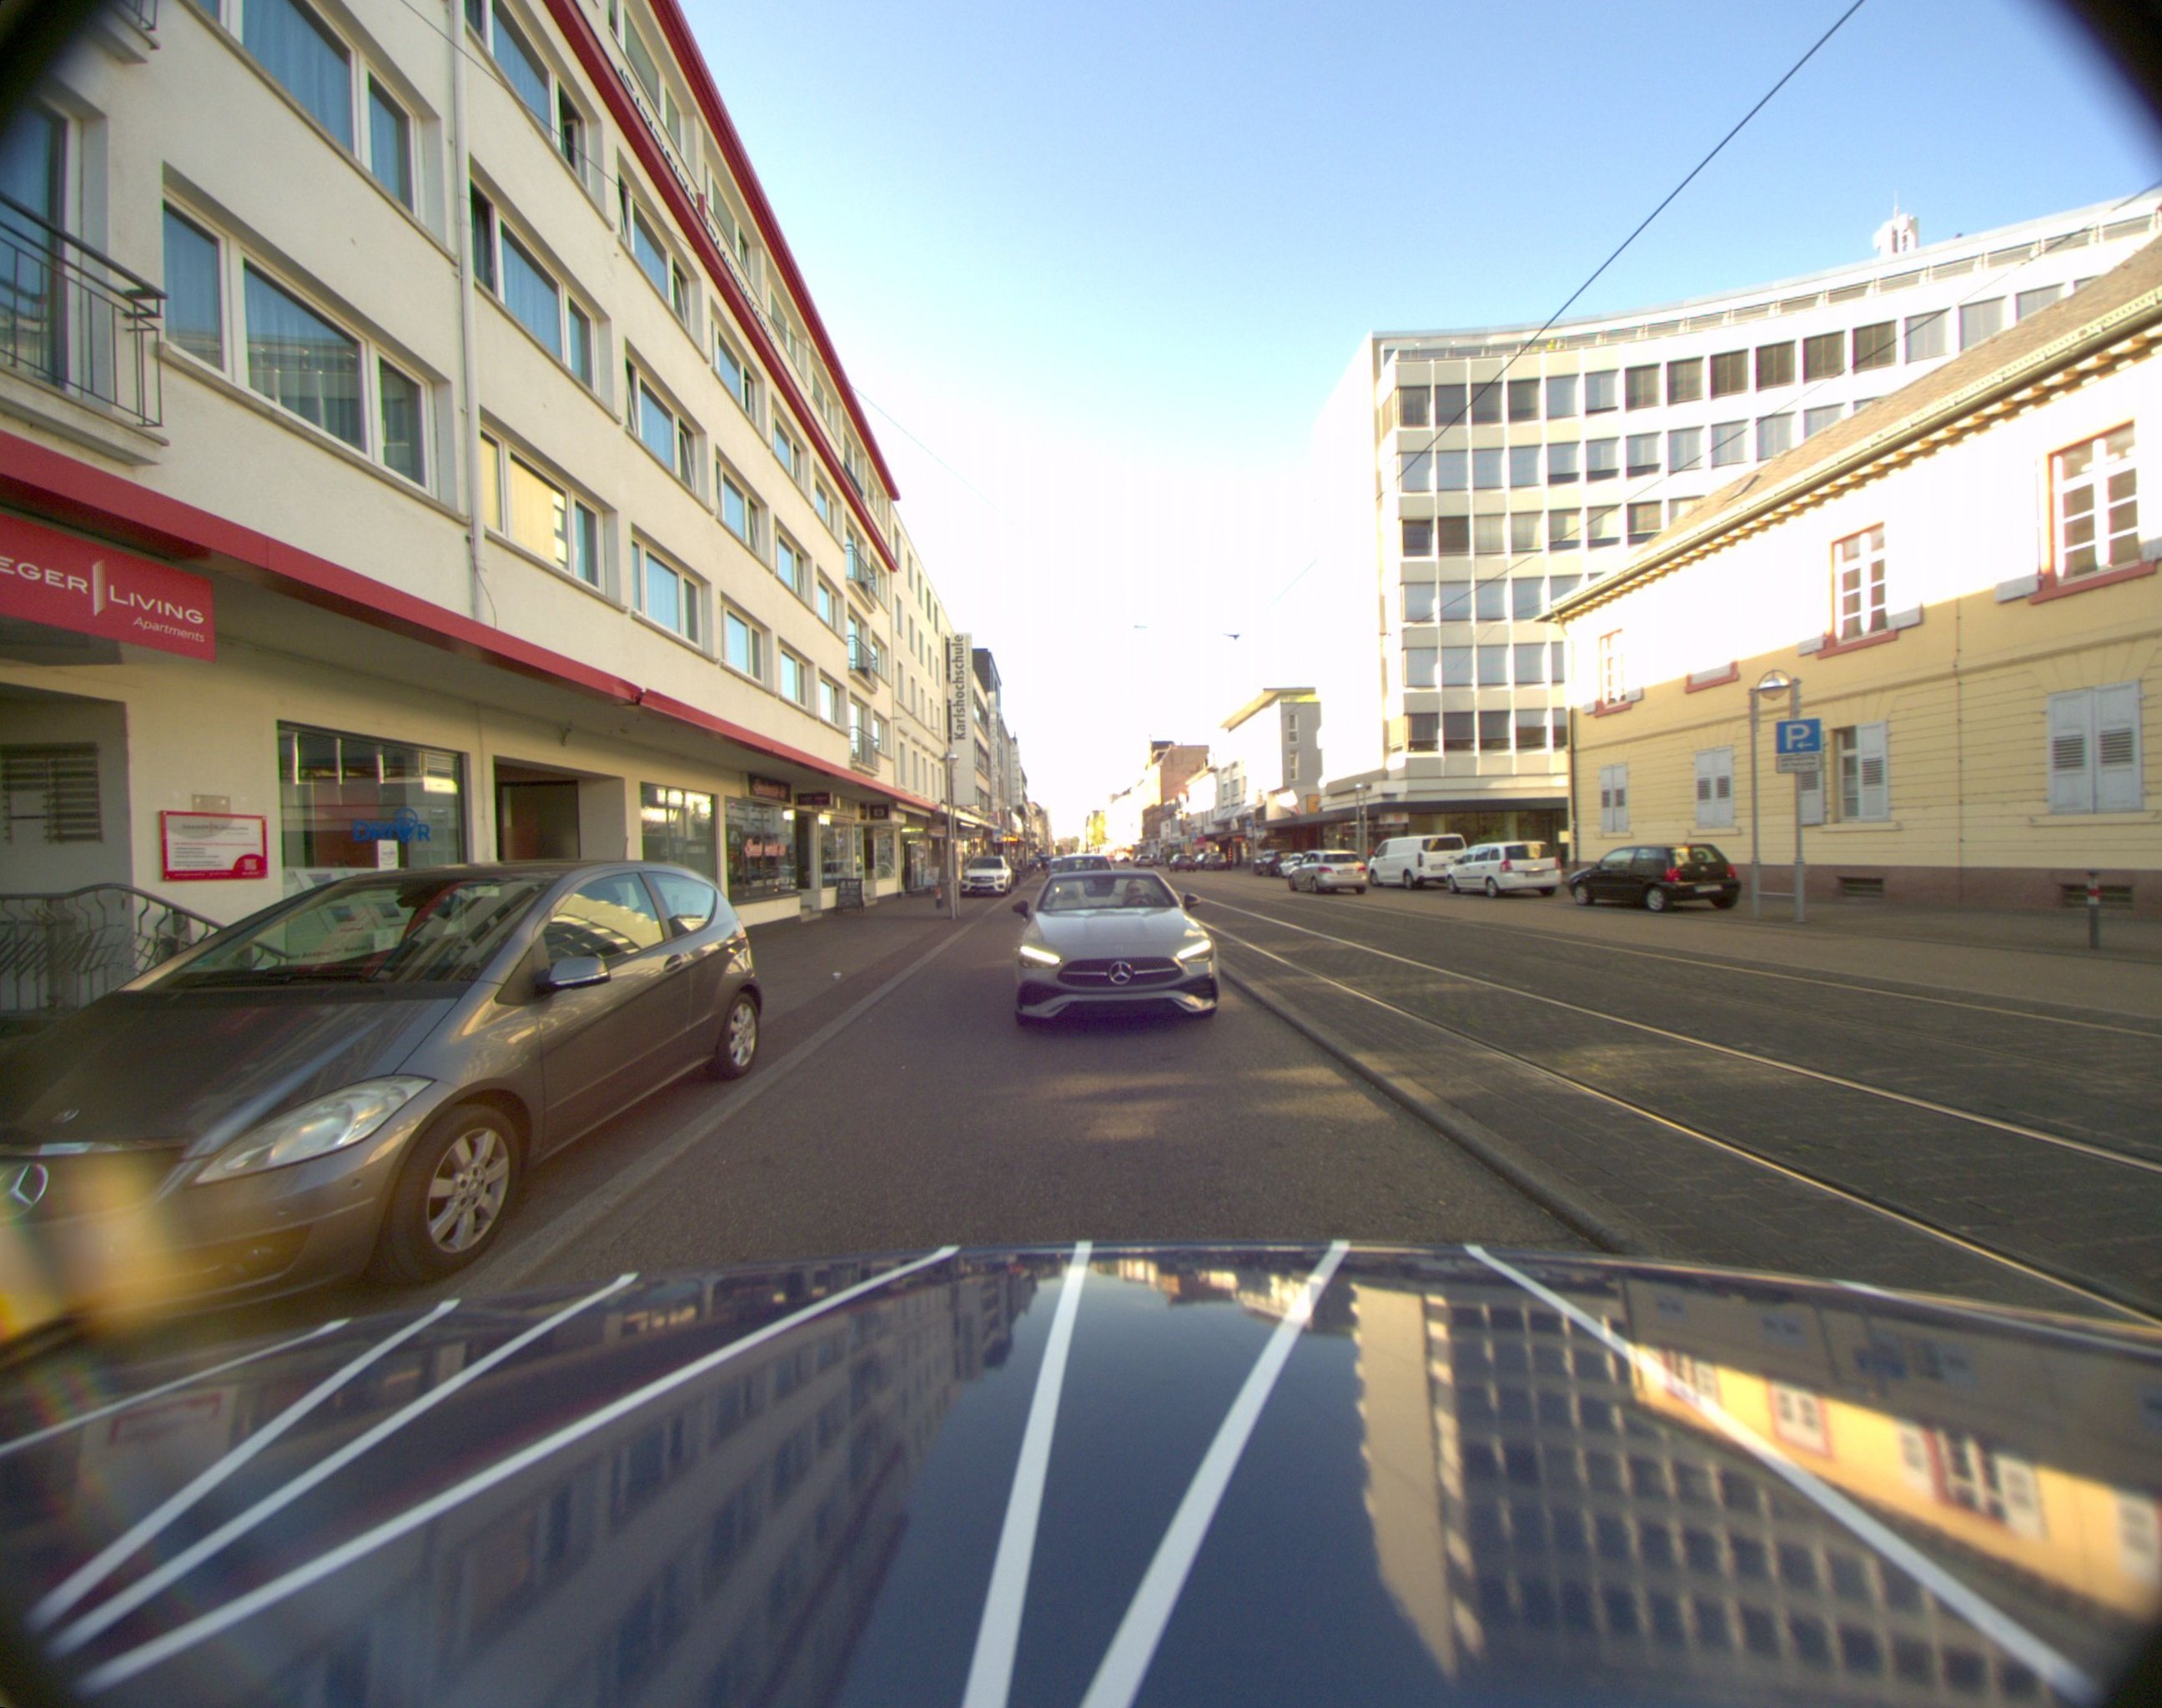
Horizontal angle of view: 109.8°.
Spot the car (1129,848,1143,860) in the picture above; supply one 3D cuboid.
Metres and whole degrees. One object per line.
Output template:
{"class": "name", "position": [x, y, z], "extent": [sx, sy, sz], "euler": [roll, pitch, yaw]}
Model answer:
{"class": "car", "position": [9.912, -0.016, 137.671], "extent": [1.999, 2.002, 3.999], "euler": [-1, 0, -2]}

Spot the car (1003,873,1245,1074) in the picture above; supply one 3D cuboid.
{"class": "car", "position": [0.206, 0.990, 8.022], "extent": [1.884, 1.375, 3.998], "euler": [-2, 1, -4]}

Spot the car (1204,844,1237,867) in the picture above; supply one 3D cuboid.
{"class": "car", "position": [12.047, 0.127, 65.843], "extent": [1.999, 1.849, 3.998], "euler": [-2, 1, -2]}

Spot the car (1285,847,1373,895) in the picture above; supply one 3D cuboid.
{"class": "car", "position": [8.927, 0.578, 27.707], "extent": [1.760, 1.587, 3.999], "euler": [-1, 0, -2]}

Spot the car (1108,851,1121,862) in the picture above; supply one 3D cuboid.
{"class": "car", "position": [6.632, 0.458, 150.667], "extent": [1.999, 2.002, 3.998], "euler": [-2, 1, -2]}

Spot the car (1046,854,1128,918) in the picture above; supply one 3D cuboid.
{"class": "car", "position": [0.069, 0.802, 21.219], "extent": [1.927, 1.533, 3.998], "euler": [-2, 0, -4]}

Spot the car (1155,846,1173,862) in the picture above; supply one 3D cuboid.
{"class": "car", "position": [11.018, 0.035, 100.809], "extent": [1.998, 2.002, 4.000], "euler": [-1, 0, 1]}

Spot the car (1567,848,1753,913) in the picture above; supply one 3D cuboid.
{"class": "car", "position": [12.857, 0.527, 17.131], "extent": [1.688, 1.246, 3.212], "euler": [-2, 1, -1]}

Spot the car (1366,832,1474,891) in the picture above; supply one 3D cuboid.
{"class": "car", "position": [12.686, 0.256, 28.780], "extent": [2.040, 2.002, 4.621], "euler": [-1, 0, 1]}

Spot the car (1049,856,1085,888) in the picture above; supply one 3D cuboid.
{"class": "car", "position": [-0.737, 0.861, 38.435], "extent": [1.648, 1.506, 3.844], "euler": [-2, 0, -2]}

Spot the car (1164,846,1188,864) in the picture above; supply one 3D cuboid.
{"class": "car", "position": [11.327, 0.122, 90.597], "extent": [2.200, 2.030, 3.999], "euler": [-1, 0, -1]}

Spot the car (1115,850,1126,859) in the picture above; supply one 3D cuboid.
{"class": "car", "position": [9.113, 0.149, 176.600], "extent": [2.148, 1.850, 3.998], "euler": [-2, 1, -2]}

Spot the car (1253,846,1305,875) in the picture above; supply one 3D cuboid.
{"class": "car", "position": [12.334, 0.363, 47.676], "extent": [1.999, 1.694, 4.107], "euler": [-3, 1, -2]}

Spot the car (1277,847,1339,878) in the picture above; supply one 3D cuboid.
{"class": "car", "position": [12.537, 0.425, 42.244], "extent": [1.999, 1.521, 4.373], "euler": [-2, 1, -1]}

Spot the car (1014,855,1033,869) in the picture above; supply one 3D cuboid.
{"class": "car", "position": [-6.210, 0.830, 82.199], "extent": [1.714, 1.430, 3.756], "euler": [-2, 1, -1]}

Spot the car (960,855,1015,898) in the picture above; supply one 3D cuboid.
{"class": "car", "position": [-3.842, 0.890, 31.711], "extent": [1.999, 1.620, 3.998], "euler": [-1, 0, -4]}

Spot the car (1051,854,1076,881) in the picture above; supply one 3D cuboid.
{"class": "car", "position": [-1.184, 0.855, 51.394], "extent": [1.573, 1.670, 3.688], "euler": [-2, 1, -1]}

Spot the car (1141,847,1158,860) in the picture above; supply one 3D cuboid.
{"class": "car", "position": [11.082, -0.012, 122.414], "extent": [1.999, 2.002, 5.320], "euler": [-1, 0, -2]}

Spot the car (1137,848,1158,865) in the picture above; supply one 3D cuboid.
{"class": "car", "position": [7.784, 0.320, 89.588], "extent": [1.914, 1.883, 3.855], "euler": [-2, 1, -2]}

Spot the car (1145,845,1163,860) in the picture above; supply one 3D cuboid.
{"class": "car", "position": [10.628, -0.265, 110.655], "extent": [1.999, 2.002, 3.998], "euler": [-2, 1, -2]}

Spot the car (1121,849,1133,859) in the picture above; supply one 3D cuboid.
{"class": "car", "position": [9.554, -0.050, 157.300], "extent": [1.999, 2.002, 3.999], "euler": [-1, 0, -2]}

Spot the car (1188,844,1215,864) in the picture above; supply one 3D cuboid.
{"class": "car", "position": [11.744, -0.038, 74.187], "extent": [1.789, 1.870, 3.999], "euler": [-1, 0, -2]}

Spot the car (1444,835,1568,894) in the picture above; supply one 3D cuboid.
{"class": "car", "position": [12.801, 0.267, 23.167], "extent": [1.641, 1.600, 4.005], "euler": [-2, 1, 3]}

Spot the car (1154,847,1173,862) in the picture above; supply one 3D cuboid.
{"class": "car", "position": [11.588, -0.010, 106.335], "extent": [1.999, 2.002, 3.998], "euler": [-2, 1, -2]}

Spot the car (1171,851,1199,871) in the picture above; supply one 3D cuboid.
{"class": "car", "position": [8.655, 0.546, 63.547], "extent": [1.964, 1.499, 4.000], "euler": [-2, 1, 4]}

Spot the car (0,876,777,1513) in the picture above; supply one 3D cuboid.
{"class": "car", "position": [-3.225, 0.967, 3.960], "extent": [1.683, 1.537, 3.999], "euler": [-2, 0, -1]}
